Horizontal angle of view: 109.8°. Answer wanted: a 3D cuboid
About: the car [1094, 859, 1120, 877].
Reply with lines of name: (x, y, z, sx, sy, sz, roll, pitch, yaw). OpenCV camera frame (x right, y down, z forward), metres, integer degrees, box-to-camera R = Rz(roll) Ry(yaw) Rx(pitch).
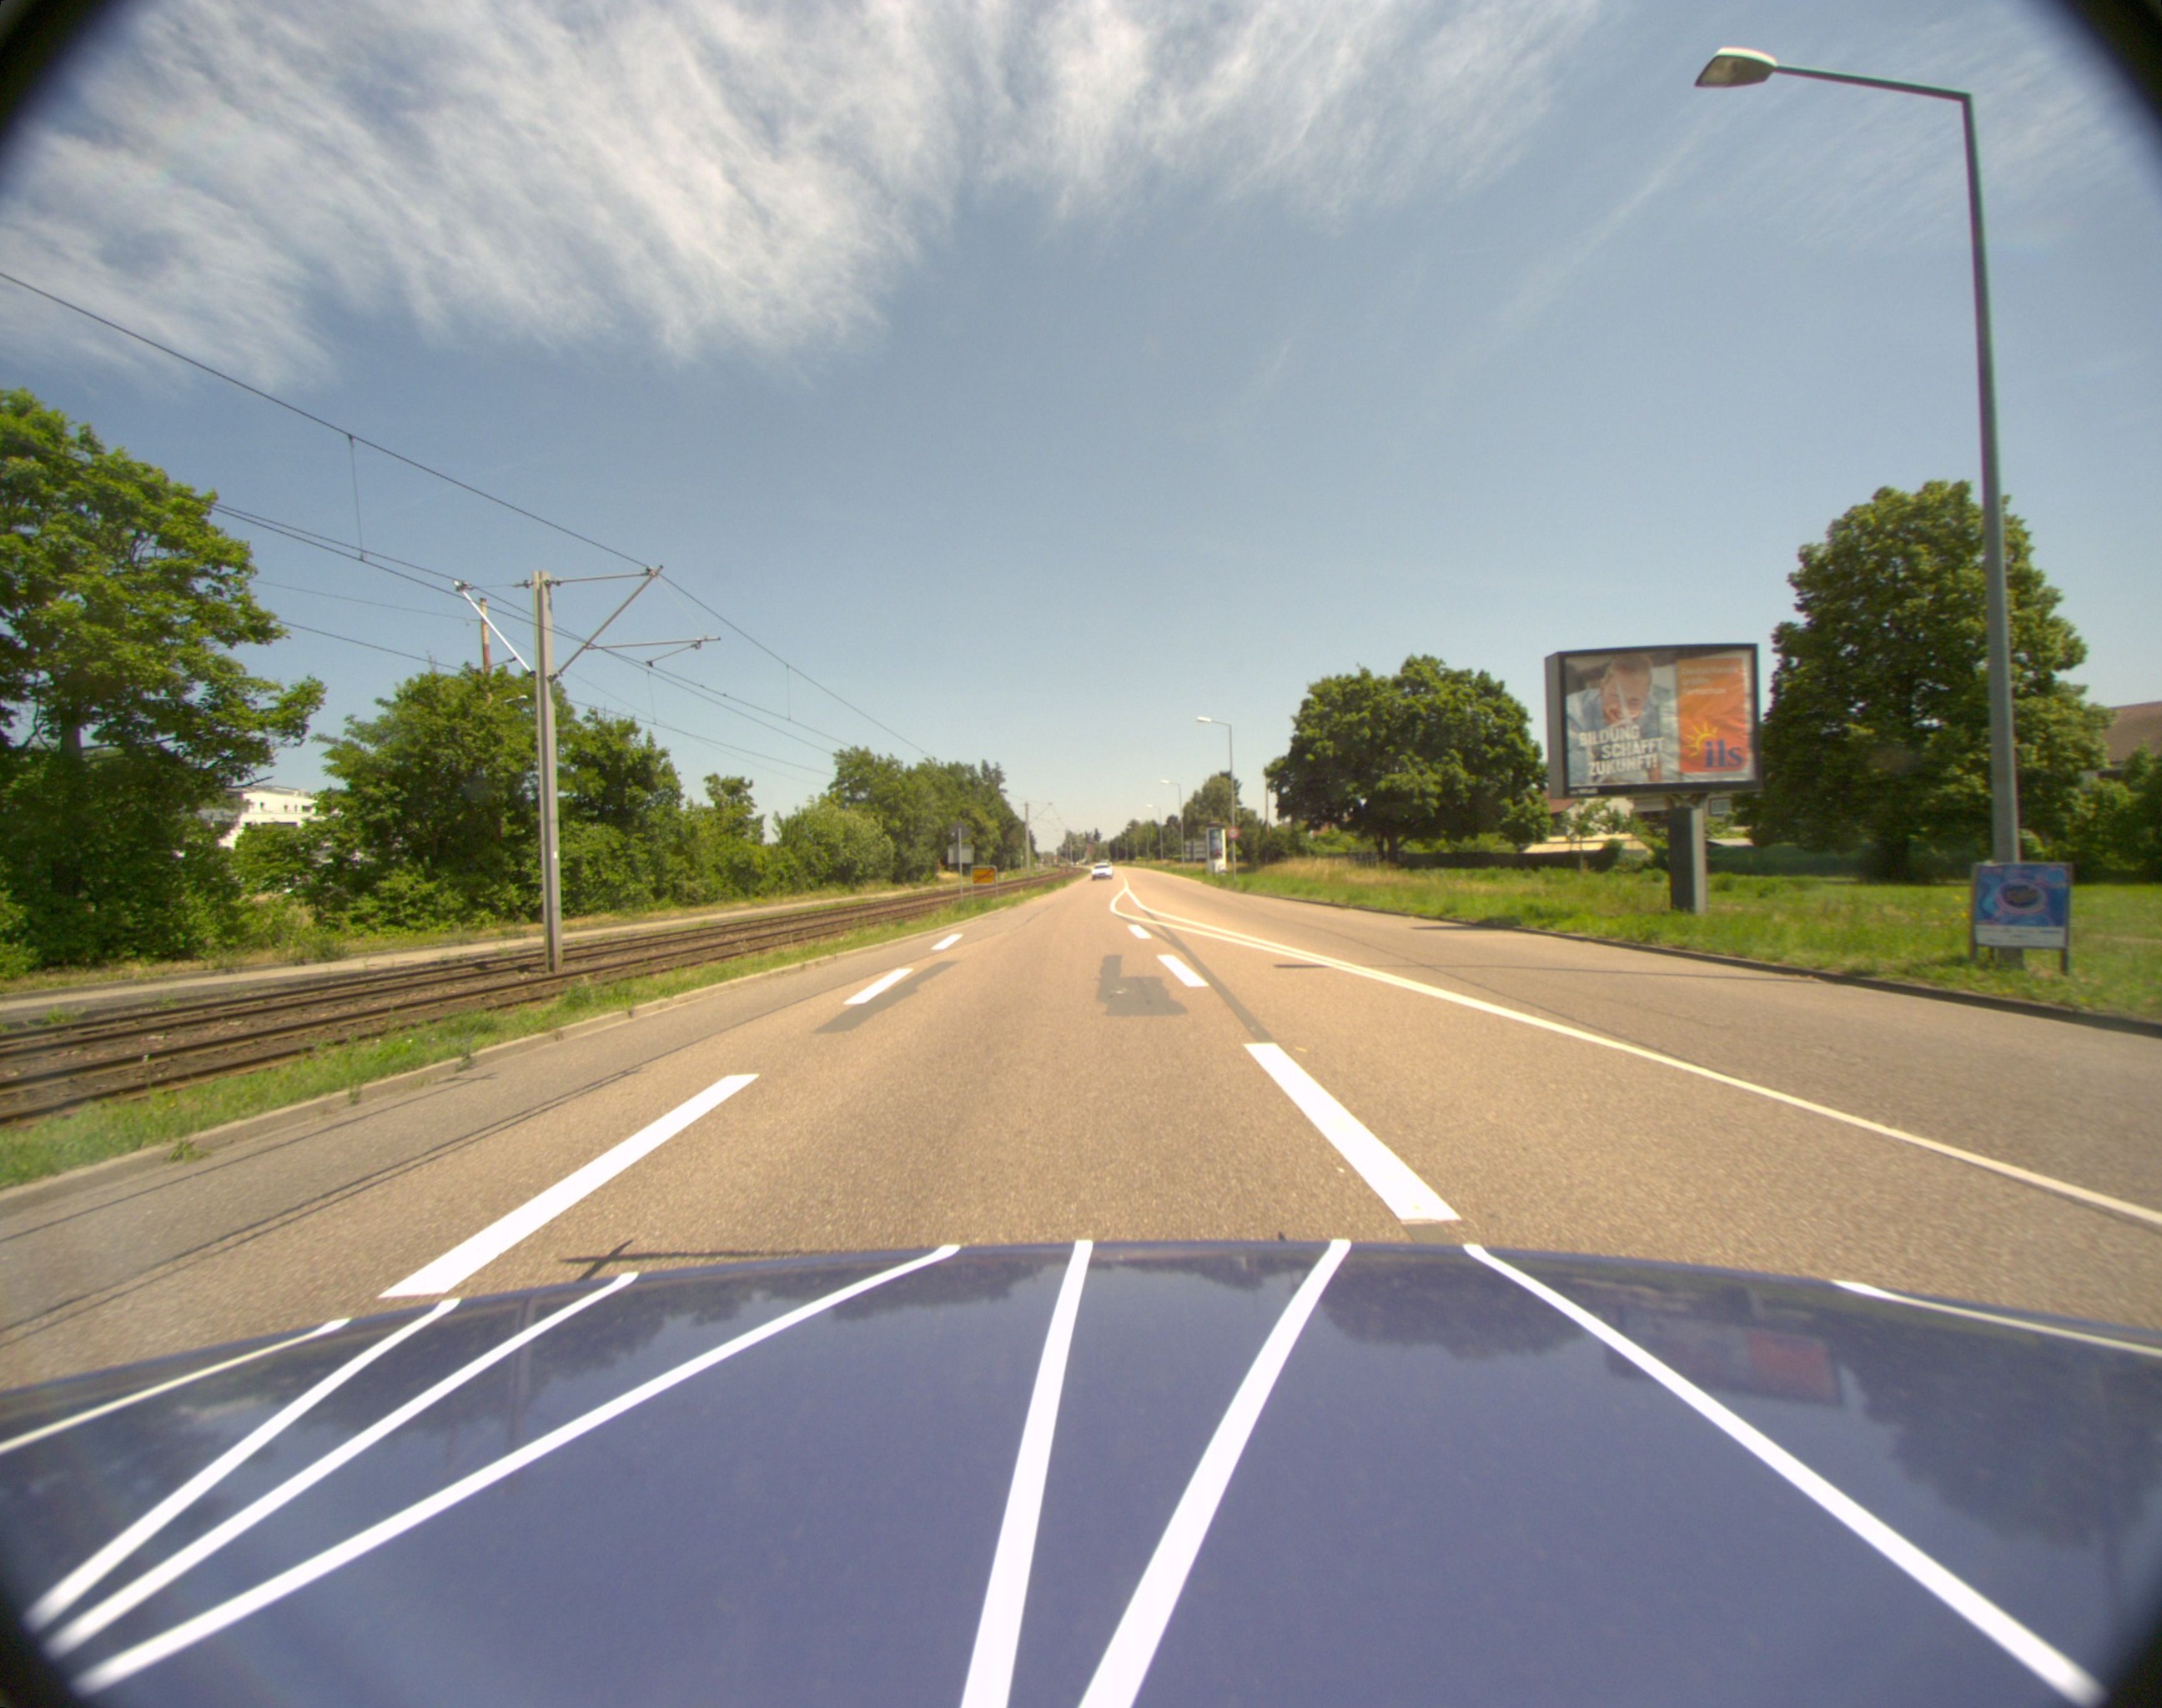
car: (2.366, 1.211, 68.329, 1.954, 1.467, 4.363, -3, 0, 6)
